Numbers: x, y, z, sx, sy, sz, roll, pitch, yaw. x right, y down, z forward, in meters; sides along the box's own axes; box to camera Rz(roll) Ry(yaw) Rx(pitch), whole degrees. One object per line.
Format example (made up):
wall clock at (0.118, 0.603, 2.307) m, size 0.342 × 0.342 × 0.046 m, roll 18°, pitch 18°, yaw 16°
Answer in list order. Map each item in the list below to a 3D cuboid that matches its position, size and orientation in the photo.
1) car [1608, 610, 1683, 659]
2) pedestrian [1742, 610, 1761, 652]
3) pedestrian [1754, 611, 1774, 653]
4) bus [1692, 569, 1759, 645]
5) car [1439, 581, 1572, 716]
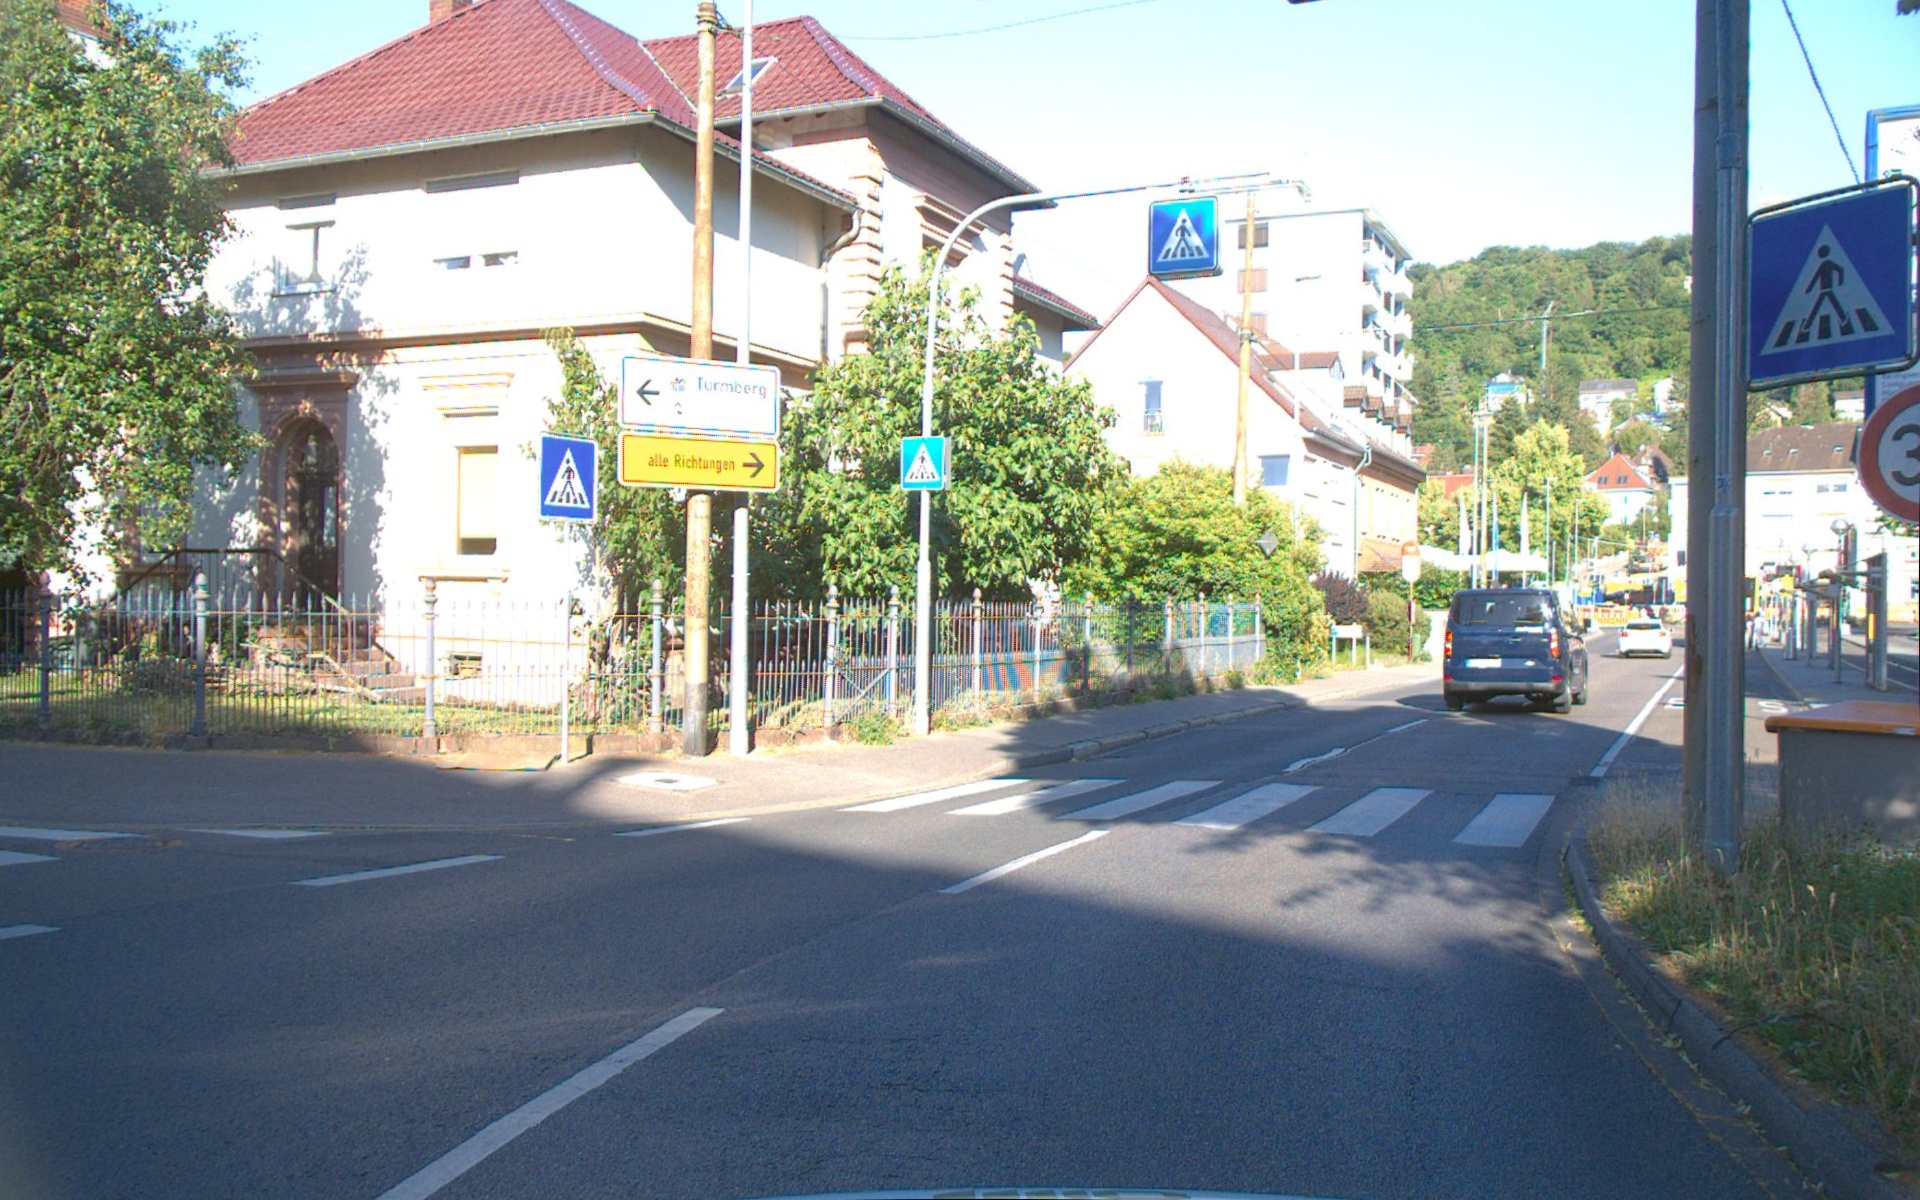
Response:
car at (25.964, 1.289, 62.790) m, size 1.951 × 1.747 × 4.003 m, roll 1°, pitch -1°, yaw 13°
pedestrian at (34.173, 1.318, 71.411) m, size 0.536 × 1.798 × 0.548 m, roll 1°, pitch -1°, yaw -27°
pedestrian at (34.453, 1.367, 70.847) m, size 0.536 × 1.798 × 0.548 m, roll 1°, pitch -1°, yaw -27°
bus at (35.774, 0.372, 77.400) m, size 2.650 × 3.348 × 10.204 m, roll 1°, pitch -1°, yaw 24°
car at (9.271, 0.755, 27.941) m, size 1.952 × 2.049 × 4.000 m, roll 1°, pitch 0°, yaw 20°
